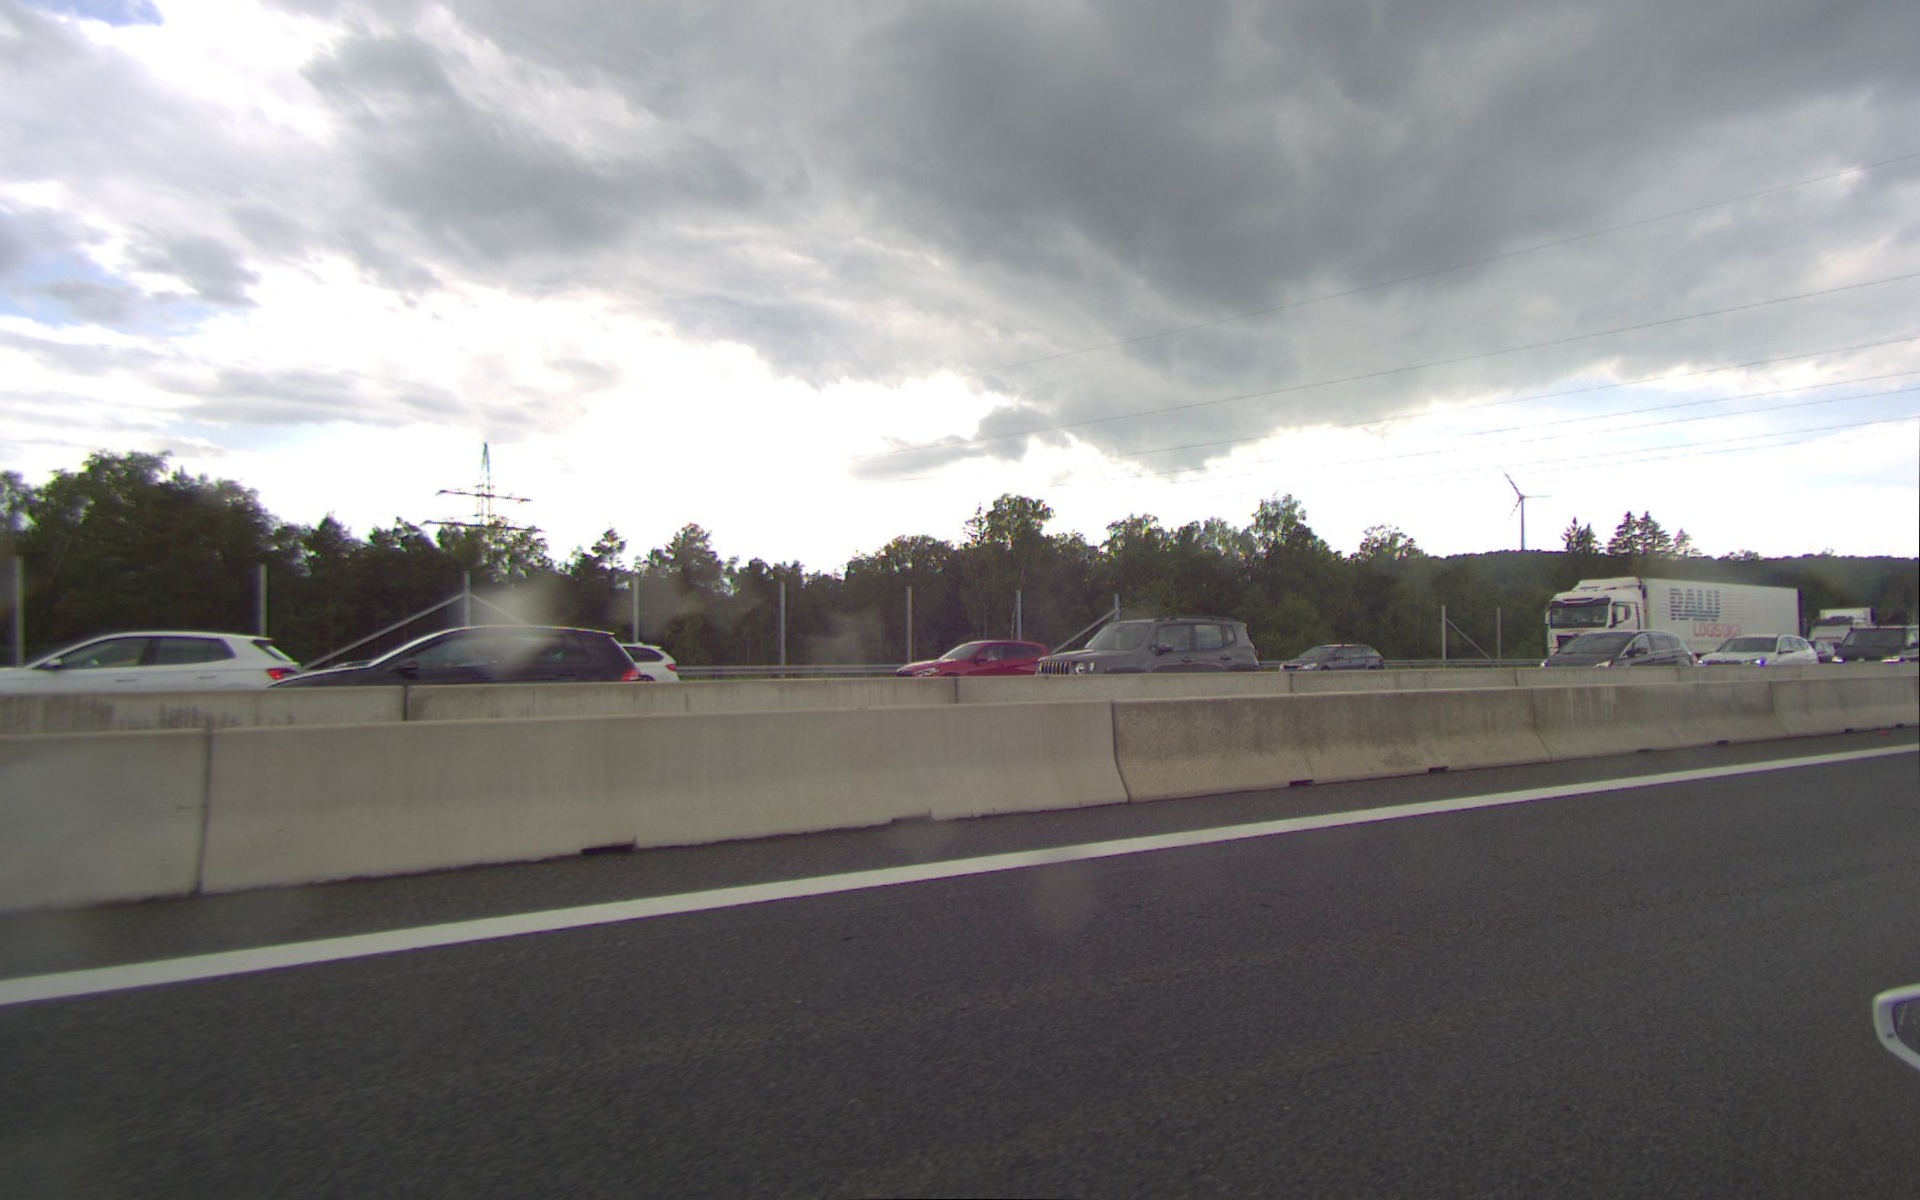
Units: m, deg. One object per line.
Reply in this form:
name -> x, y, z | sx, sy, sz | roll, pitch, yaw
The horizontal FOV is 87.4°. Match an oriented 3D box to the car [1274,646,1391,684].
car -> 13.545, 2.331, 36.500 | 4.310, 1.224, 1.638 | 2, -1, -30

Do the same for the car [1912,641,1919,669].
car -> 57.501, 3.204, 58.226 | 5.439, 1.565, 1.905 | 2, -1, -30

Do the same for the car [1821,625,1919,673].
car -> 31.864, 1.639, 34.531 | 5.111, 1.497, 1.871 | 1, 0, -30

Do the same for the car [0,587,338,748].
car -> -11.189, 0.842, 13.795 | 4.374, 1.963, 2.106 | 1, 0, -30

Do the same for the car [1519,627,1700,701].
car -> 16.388, 1.547, 25.279 | 4.788, 1.645, 1.885 | 1, 0, -30

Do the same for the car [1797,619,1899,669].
car -> 38.785, 1.891, 43.858 | 3.953, 2.027, 2.198 | 1, 0, -30

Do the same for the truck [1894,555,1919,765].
truck -> 14.757, 0.754, 12.699 | 7.272, 2.440, 2.341 | 1, 0, -31

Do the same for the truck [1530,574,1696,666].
truck -> 26.384, 0.817, 40.555 | 6.451, 3.451, 3.029 | 1, 0, -30

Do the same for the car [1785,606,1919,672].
car -> 58.229, 2.546, 65.412 | 11.520, 3.999, 3.187 | 2, -1, -30

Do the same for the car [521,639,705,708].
car -> -8.522, 1.746, 24.682 | 3.953, 1.471, 2.106 | 1, 0, -30

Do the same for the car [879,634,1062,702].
car -> 0.283, 1.607, 24.518 | 4.092, 1.476, 1.861 | 1, 0, -30

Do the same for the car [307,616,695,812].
car -> -5.468, 1.215, 12.186 | 3.953, 1.963, 2.106 | 1, 0, -30

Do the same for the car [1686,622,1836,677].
car -> 24.045, 1.453, 30.119 | 5.021, 1.497, 1.841 | 1, 0, -30

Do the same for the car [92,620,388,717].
car -> -12.228, 1.131, 17.430 | 3.953, 1.471, 1.859 | 2, -1, -30

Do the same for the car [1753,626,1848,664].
car -> 34.057, 1.812, 40.680 | 3.953, 1.429, 1.743 | 1, 0, -30

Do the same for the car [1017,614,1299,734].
car -> 3.429, 1.163, 17.094 | 4.651, 1.783, 1.861 | 1, 0, -30

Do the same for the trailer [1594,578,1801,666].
trailer -> 32.638, 0.982, 44.216 | 11.638, 3.479, 3.010 | 1, 0, -30
